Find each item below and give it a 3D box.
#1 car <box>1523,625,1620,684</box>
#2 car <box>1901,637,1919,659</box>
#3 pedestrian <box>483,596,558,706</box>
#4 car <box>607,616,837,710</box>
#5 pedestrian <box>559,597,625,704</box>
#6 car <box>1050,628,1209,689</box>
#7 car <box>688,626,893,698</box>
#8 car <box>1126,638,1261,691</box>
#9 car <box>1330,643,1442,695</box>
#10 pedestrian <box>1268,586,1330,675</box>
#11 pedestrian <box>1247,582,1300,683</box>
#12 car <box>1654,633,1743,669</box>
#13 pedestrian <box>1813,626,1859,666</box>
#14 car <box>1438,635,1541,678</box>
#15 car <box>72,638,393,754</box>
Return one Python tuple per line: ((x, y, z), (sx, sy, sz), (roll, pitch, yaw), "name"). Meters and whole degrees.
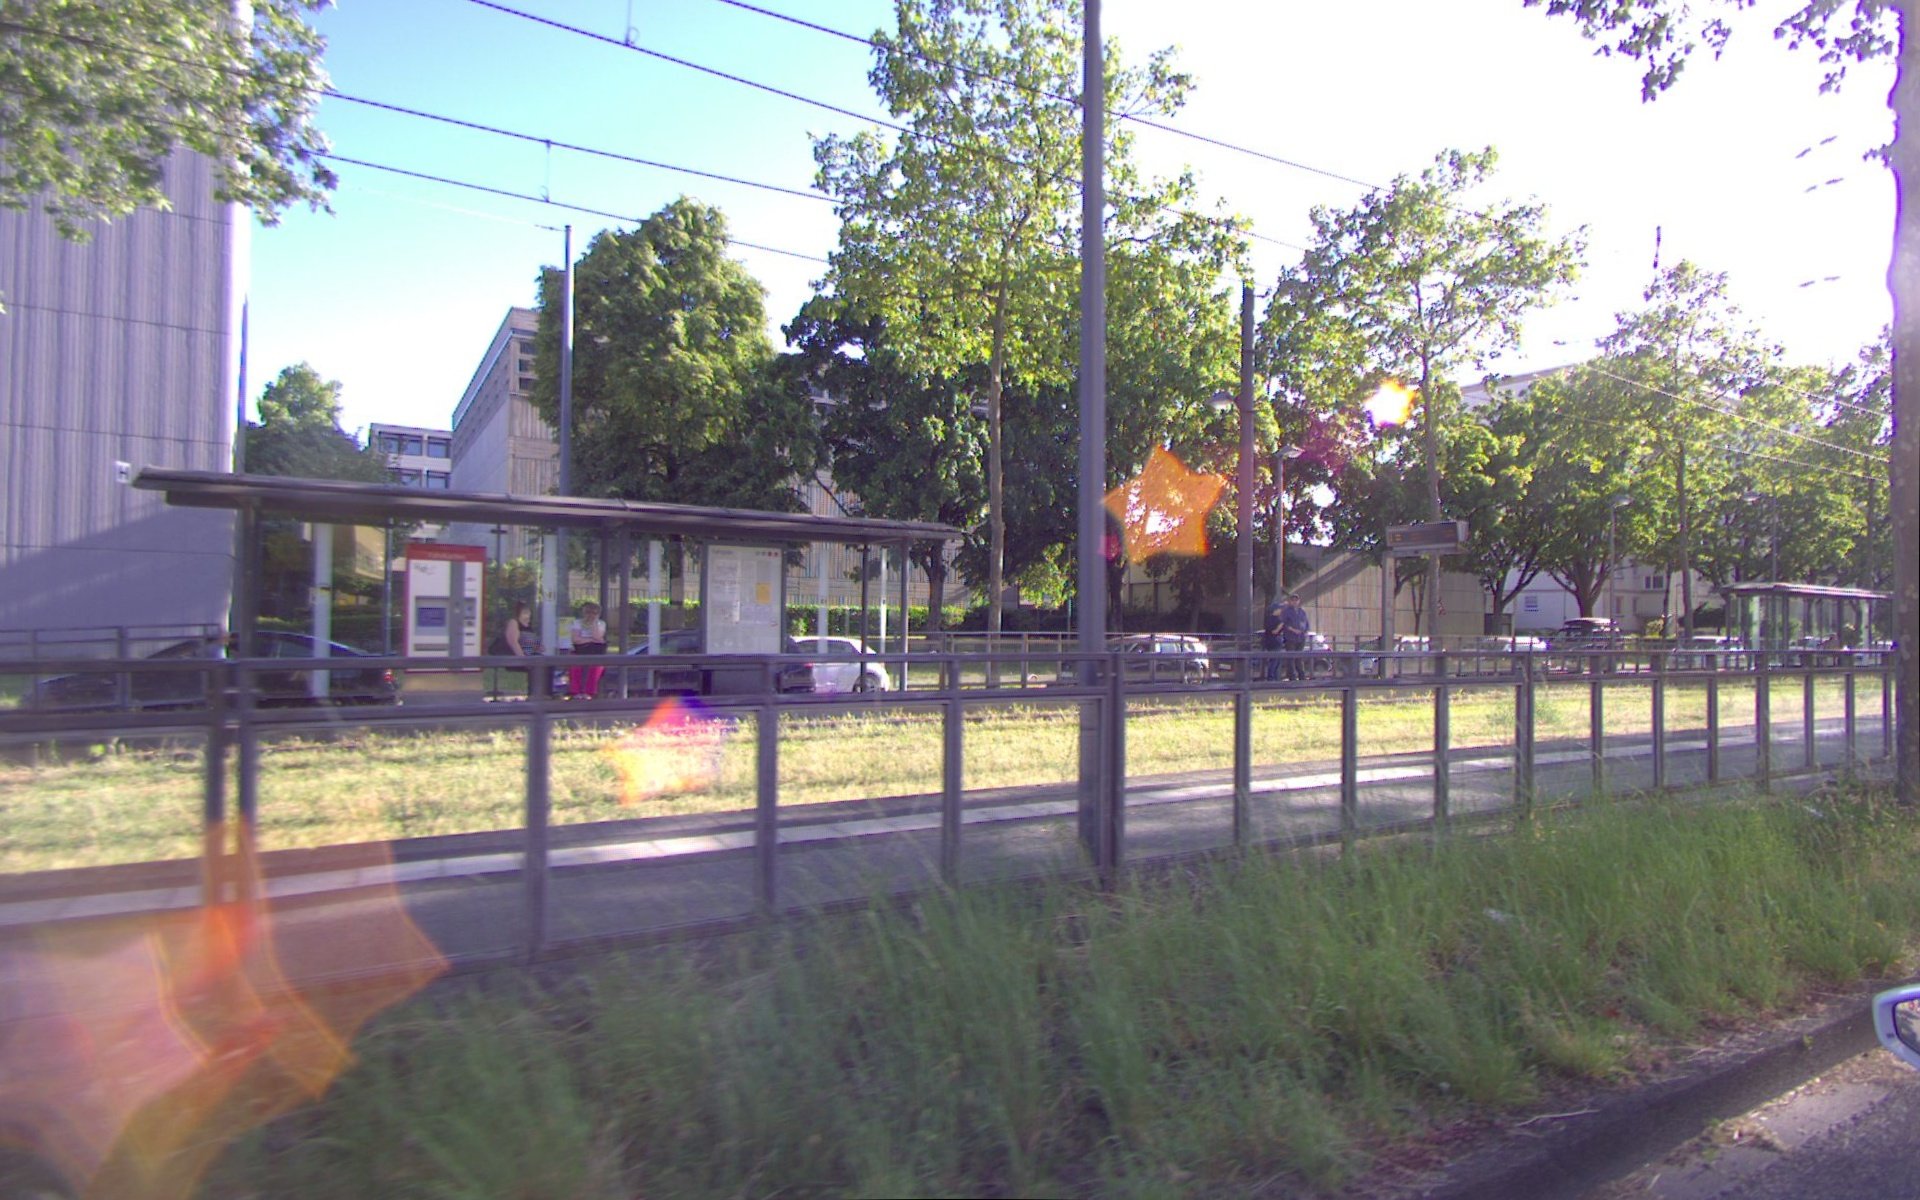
((24.642, 2.147, 40.448), (3.888, 2.292, 1.705), (1, -2, -31), "car")
((63.930, 3.119, 65.222), (3.747, 1.454, 1.842), (0, -1, 11), "car")
((-5.606, 0.643, 12.854), (0.761, 1.359, 0.732), (1, -1, -16), "pedestrian")
((-4.033, 1.022, 17.140), (3.498, 1.446, 1.597), (1, -2, -32), "car")
((-4.881, 0.661, 13.307), (0.725, 1.359, 0.691), (1, -1, -28), "pedestrian")
((4.345, 1.448, 25.573), (3.883, 1.463, 1.587), (1, -2, -29), "car")
((-3.515, 1.258, 21.009), (3.952, 1.372, 1.544), (1, -1, -29), "car")
((6.955, 1.861, 29.850), (3.883, 1.463, 1.587), (1, -2, -29), "car")
((14.773, 2.350, 34.804), (3.884, 1.657, 1.586), (1, -2, -31), "car")
((6.687, 0.596, 19.844), (0.745, 1.712, 0.879), (1, -1, -29), "pedestrian")
((6.039, 0.622, 19.357), (0.629, 1.892, 0.717), (1, -1, -29), "pedestrian")
((33.582, 2.303, 45.666), (3.883, 1.566, 1.707), (1, -2, -28), "car")
((29.106, 1.524, 33.396), (0.784, 1.277, 0.840), (1, 0, -1), "pedestrian")
((19.832, 2.075, 37.578), (3.974, 1.508, 1.586), (1, -2, -31), "car")
((-8.471, 1.078, 11.994), (2.930, 1.220, 1.319), (1, -2, -30), "car")
